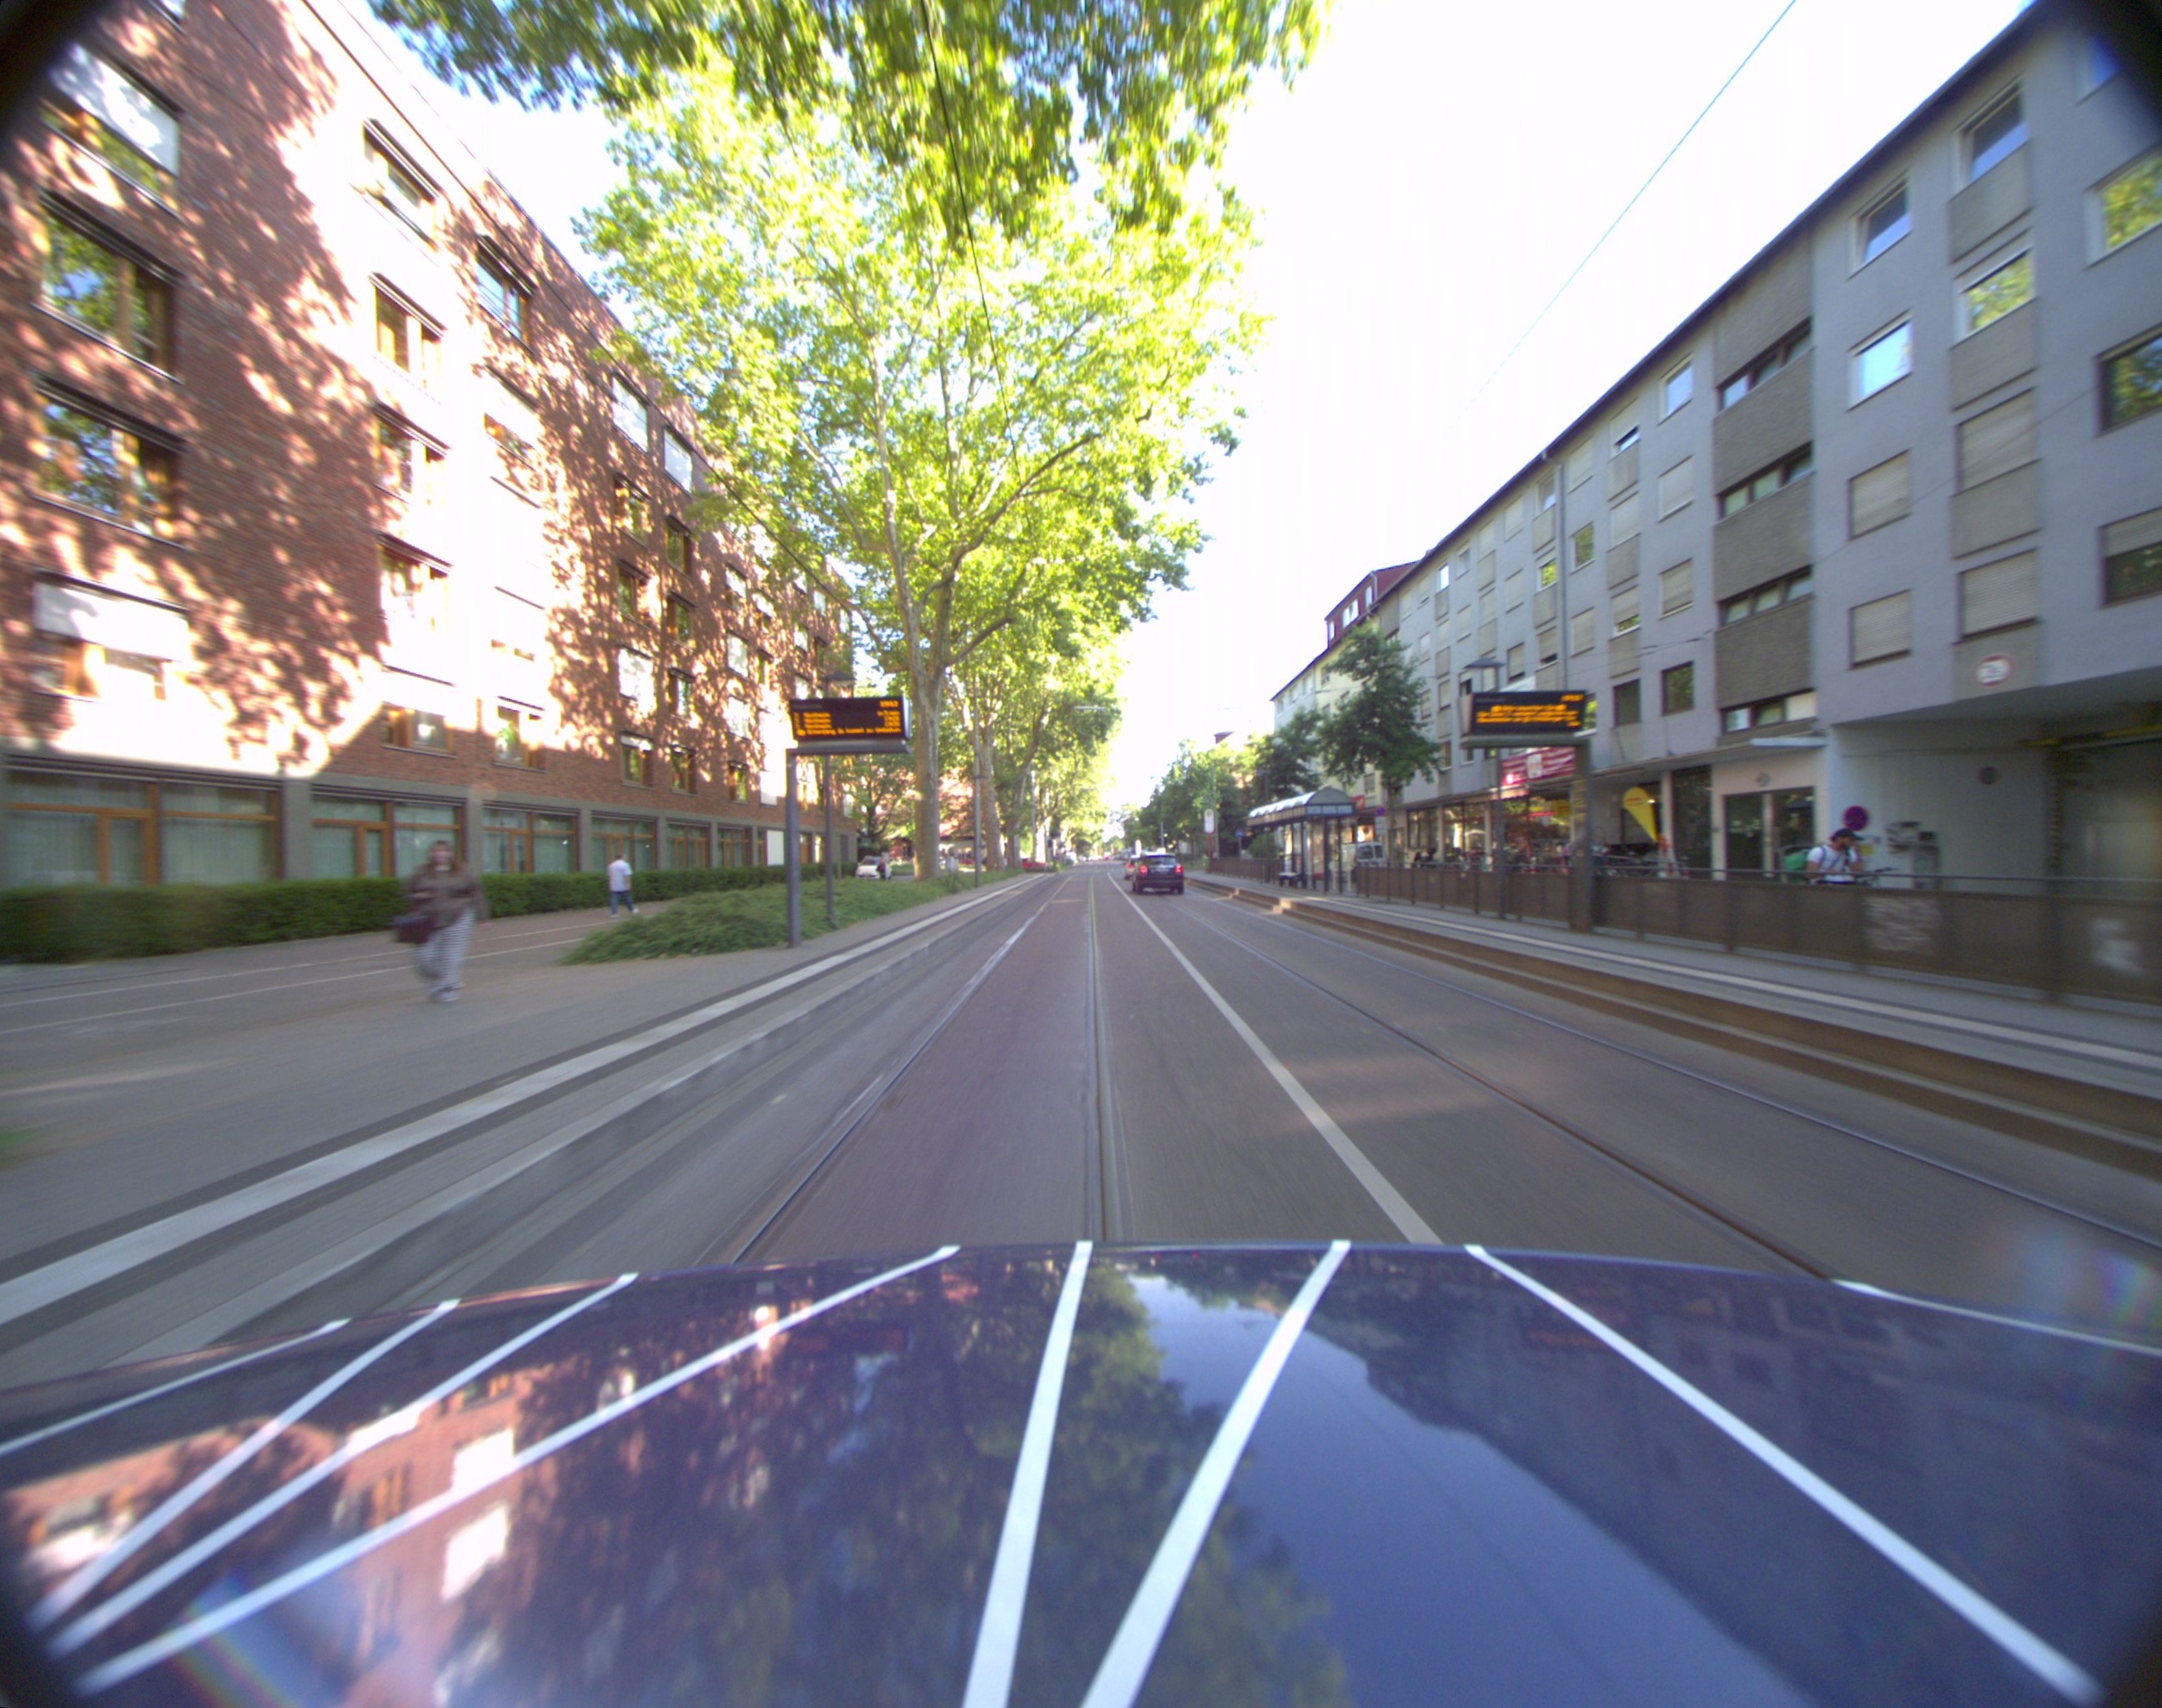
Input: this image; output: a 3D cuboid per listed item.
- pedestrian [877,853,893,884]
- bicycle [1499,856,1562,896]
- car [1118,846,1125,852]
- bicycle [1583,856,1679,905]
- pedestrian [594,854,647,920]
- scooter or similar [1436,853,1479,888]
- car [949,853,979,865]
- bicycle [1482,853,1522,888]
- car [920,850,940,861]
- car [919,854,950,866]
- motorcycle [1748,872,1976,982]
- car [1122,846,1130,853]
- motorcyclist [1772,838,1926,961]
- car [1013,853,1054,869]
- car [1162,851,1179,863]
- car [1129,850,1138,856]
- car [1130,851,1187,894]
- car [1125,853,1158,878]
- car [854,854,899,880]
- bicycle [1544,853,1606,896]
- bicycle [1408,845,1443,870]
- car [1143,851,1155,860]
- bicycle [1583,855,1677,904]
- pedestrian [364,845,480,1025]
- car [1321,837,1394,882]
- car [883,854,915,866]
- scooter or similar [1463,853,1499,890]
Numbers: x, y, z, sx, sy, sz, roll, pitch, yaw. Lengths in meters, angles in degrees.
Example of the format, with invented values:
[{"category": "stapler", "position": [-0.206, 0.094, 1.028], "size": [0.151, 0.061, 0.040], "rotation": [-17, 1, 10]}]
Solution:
[{"category": "pedestrian", "position": [-10.868, 0.795, 42.141], "size": [0.710, 1.681, 0.748], "rotation": [-1, 1, -1]}, {"category": "bicycle", "position": [13.740, 0.637, 23.295], "size": [0.572, 1.150, 2.036], "rotation": [-1, 0, -5]}, {"category": "car", "position": [12.178, -1.429, 227.270], "size": [1.998, 1.741, 3.677], "rotation": [-1, 0, 0]}, {"category": "bicycle", "position": [13.587, 0.623, 18.843], "size": [0.561, 1.150, 2.028], "rotation": [-1, 0, -15]}, {"category": "pedestrian", "position": [-11.853, 0.844, 19.587], "size": [0.768, 1.650, 0.917], "rotation": [-1, 1, 1]}, {"category": "scooter or similar", "position": [13.164, 0.572, 26.562], "size": [0.447, 1.167, 1.272], "rotation": [-1, 1, -36]}, {"category": "car", "position": [-15.564, 0.675, 101.150], "size": [3.674, 1.521, 2.000], "rotation": [-1, 0, 2]}, {"category": "bicycle", "position": [14.277, 0.533, 25.788], "size": [0.513, 1.150, 1.688], "rotation": [-1, 0, 4]}, {"category": "car", "position": [-21.717, 0.258, 109.362], "size": [1.998, 1.521, 3.678], "rotation": [-1, 0, 3]}, {"category": "car", "position": [-19.467, 0.816, 101.227], "size": [3.674, 1.521, 2.000], "rotation": [-1, 0, 2]}, {"category": "motorcycle", "position": [9.497, 0.836, 9.382], "size": [0.851, 1.157, 1.915], "rotation": [-1, 0, 0]}, {"category": "car", "position": [12.456, -1.216, 208.900], "size": [1.998, 1.741, 3.677], "rotation": [-1, 0, 0]}, {"category": "motorcyclist", "position": [9.480, 0.532, 9.431], "size": [0.875, 1.432, 1.016], "rotation": [-1, 1, 0]}, {"category": "car", "position": [-4.781, 0.704, 76.991], "size": [3.872, 1.521, 2.000], "rotation": [-1, 0, 2]}, {"category": "car", "position": [11.708, 0.329, 99.603], "size": [1.998, 1.521, 3.678], "rotation": [-1, 0, 3]}, {"category": "car", "position": [12.858, -0.244, 185.977], "size": [1.998, 1.521, 3.677], "rotation": [-1, 0, 0]}, {"category": "car", "position": [2.990, 0.679, 29.992], "size": [1.766, 1.579, 3.999], "rotation": [-1, 0, -1]}, {"category": "car", "position": [3.645, 0.681, 46.322], "size": [1.766, 1.417, 4.000], "rotation": [-1, 0, 1]}, {"category": "car", "position": [-12.707, 0.799, 47.487], "size": [1.657, 1.499, 3.961], "rotation": [-1, 0, 1]}, {"category": "bicycle", "position": [13.857, 0.555, 21.363], "size": [0.494, 1.150, 1.751], "rotation": [-1, 0, -5]}, {"category": "bicycle", "position": [16.341, 0.147, 36.055], "size": [0.572, 1.150, 2.036], "rotation": [-1, 0, -5]}, {"category": "car", "position": [11.977, 0.208, 134.434], "size": [1.998, 1.521, 3.678], "rotation": [-1, 0, 3]}, {"category": "bicycle", "position": [13.837, 0.607, 19.210], "size": [0.561, 1.150, 2.028], "rotation": [-1, 0, -15]}, {"category": "pedestrian", "position": [-6.510, 0.743, 7.564], "size": [0.770, 1.650, 0.914], "rotation": [-1, 1, -36]}, {"category": "car", "position": [12.586, 0.248, 34.871], "size": [1.808, 1.923, 4.049], "rotation": [-1, 0, -1]}, {"category": "car", "position": [-24.278, 0.842, 101.280], "size": [3.674, 1.521, 2.000], "rotation": [-1, 0, 2]}, {"category": "scooter or similar", "position": [13.287, 0.563, 25.243], "size": [0.446, 1.167, 1.274], "rotation": [-1, 0, -5]}]
